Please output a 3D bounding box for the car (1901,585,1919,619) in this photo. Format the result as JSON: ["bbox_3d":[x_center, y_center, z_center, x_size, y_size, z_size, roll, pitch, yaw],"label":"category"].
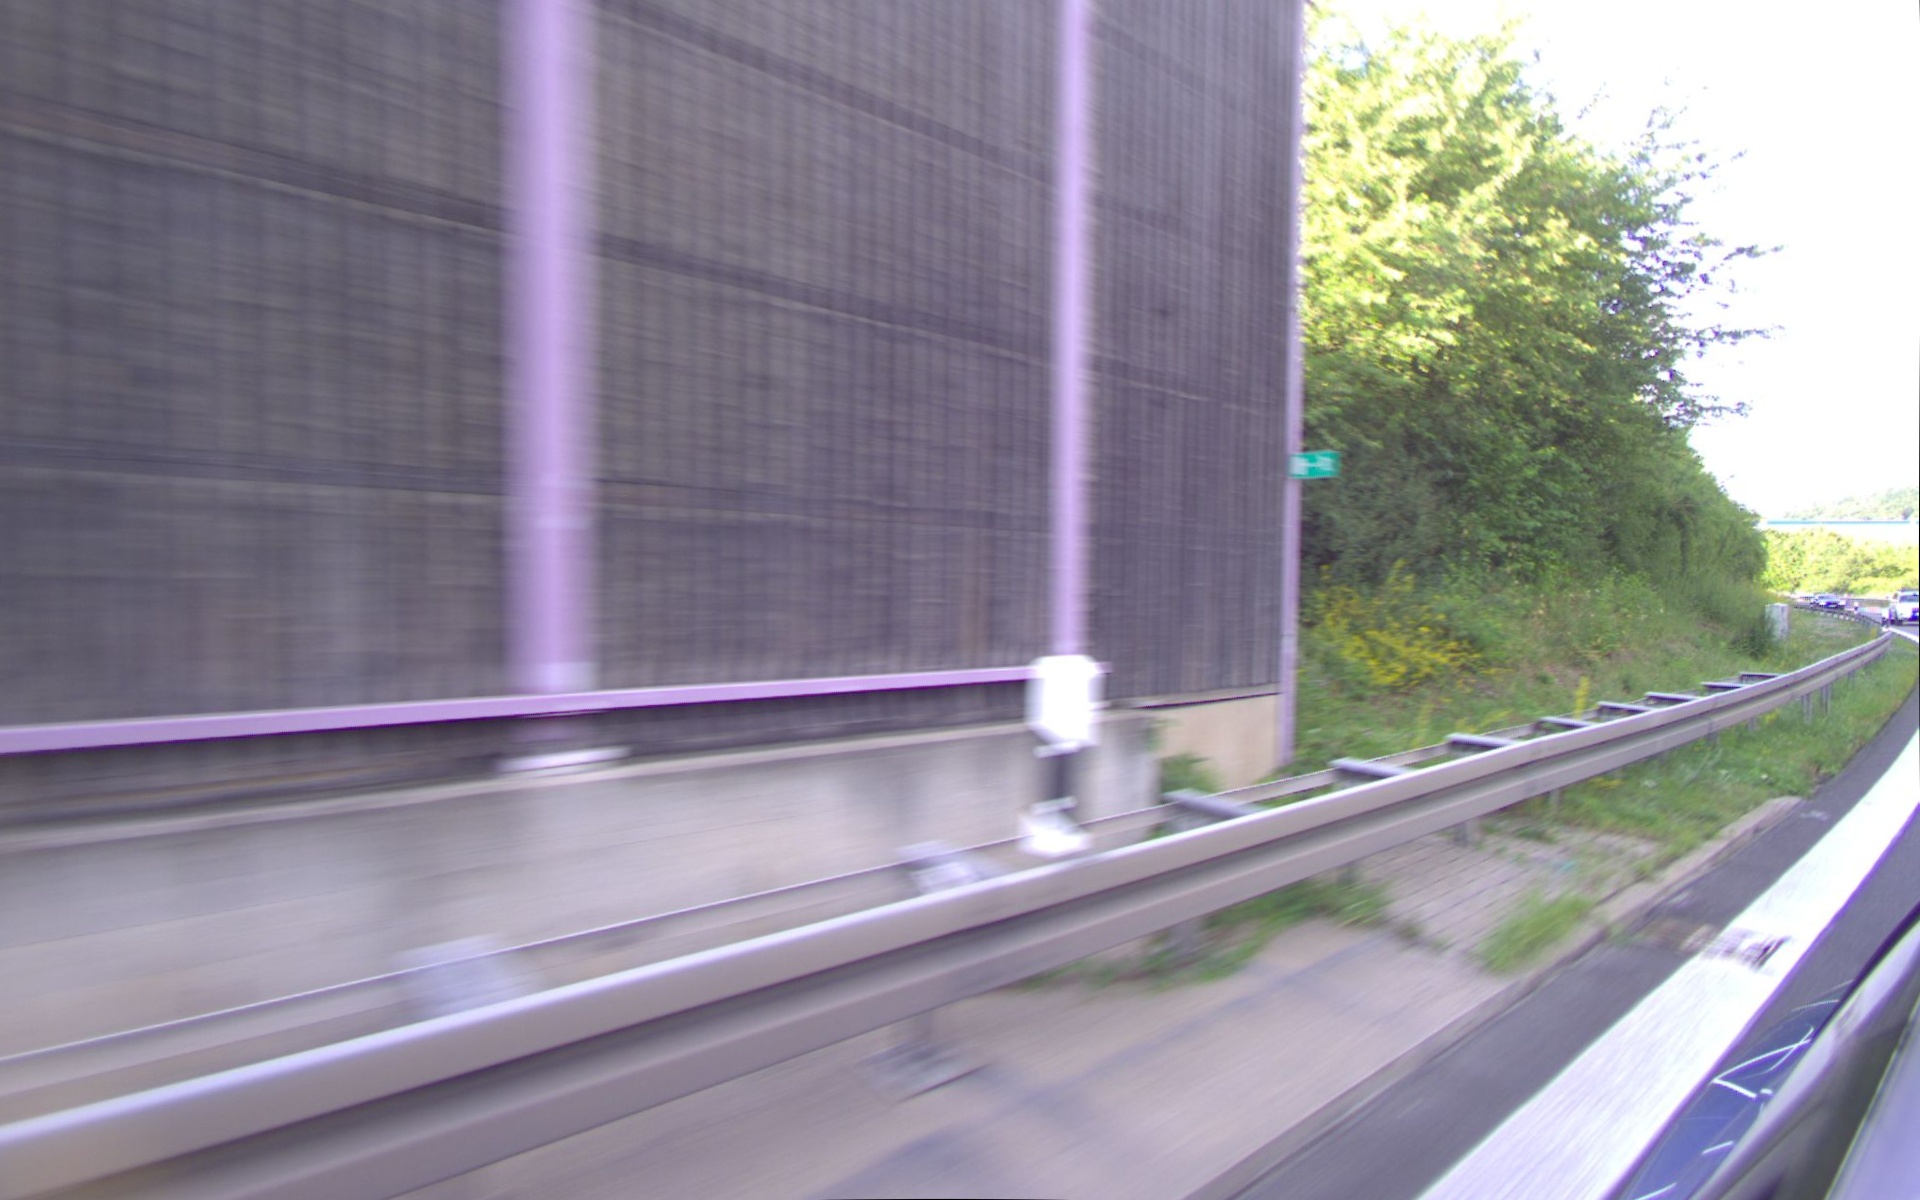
[{"bbox_3d":[50.939,0.073,53.055,1.895,1.686,3.947,-1,0,37],"label":"car"}]

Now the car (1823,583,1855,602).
[{"bbox_3d":[75.612,-0.653,87.077,1.610,1.478,3.618,-1,1,35],"label":"car"}]
